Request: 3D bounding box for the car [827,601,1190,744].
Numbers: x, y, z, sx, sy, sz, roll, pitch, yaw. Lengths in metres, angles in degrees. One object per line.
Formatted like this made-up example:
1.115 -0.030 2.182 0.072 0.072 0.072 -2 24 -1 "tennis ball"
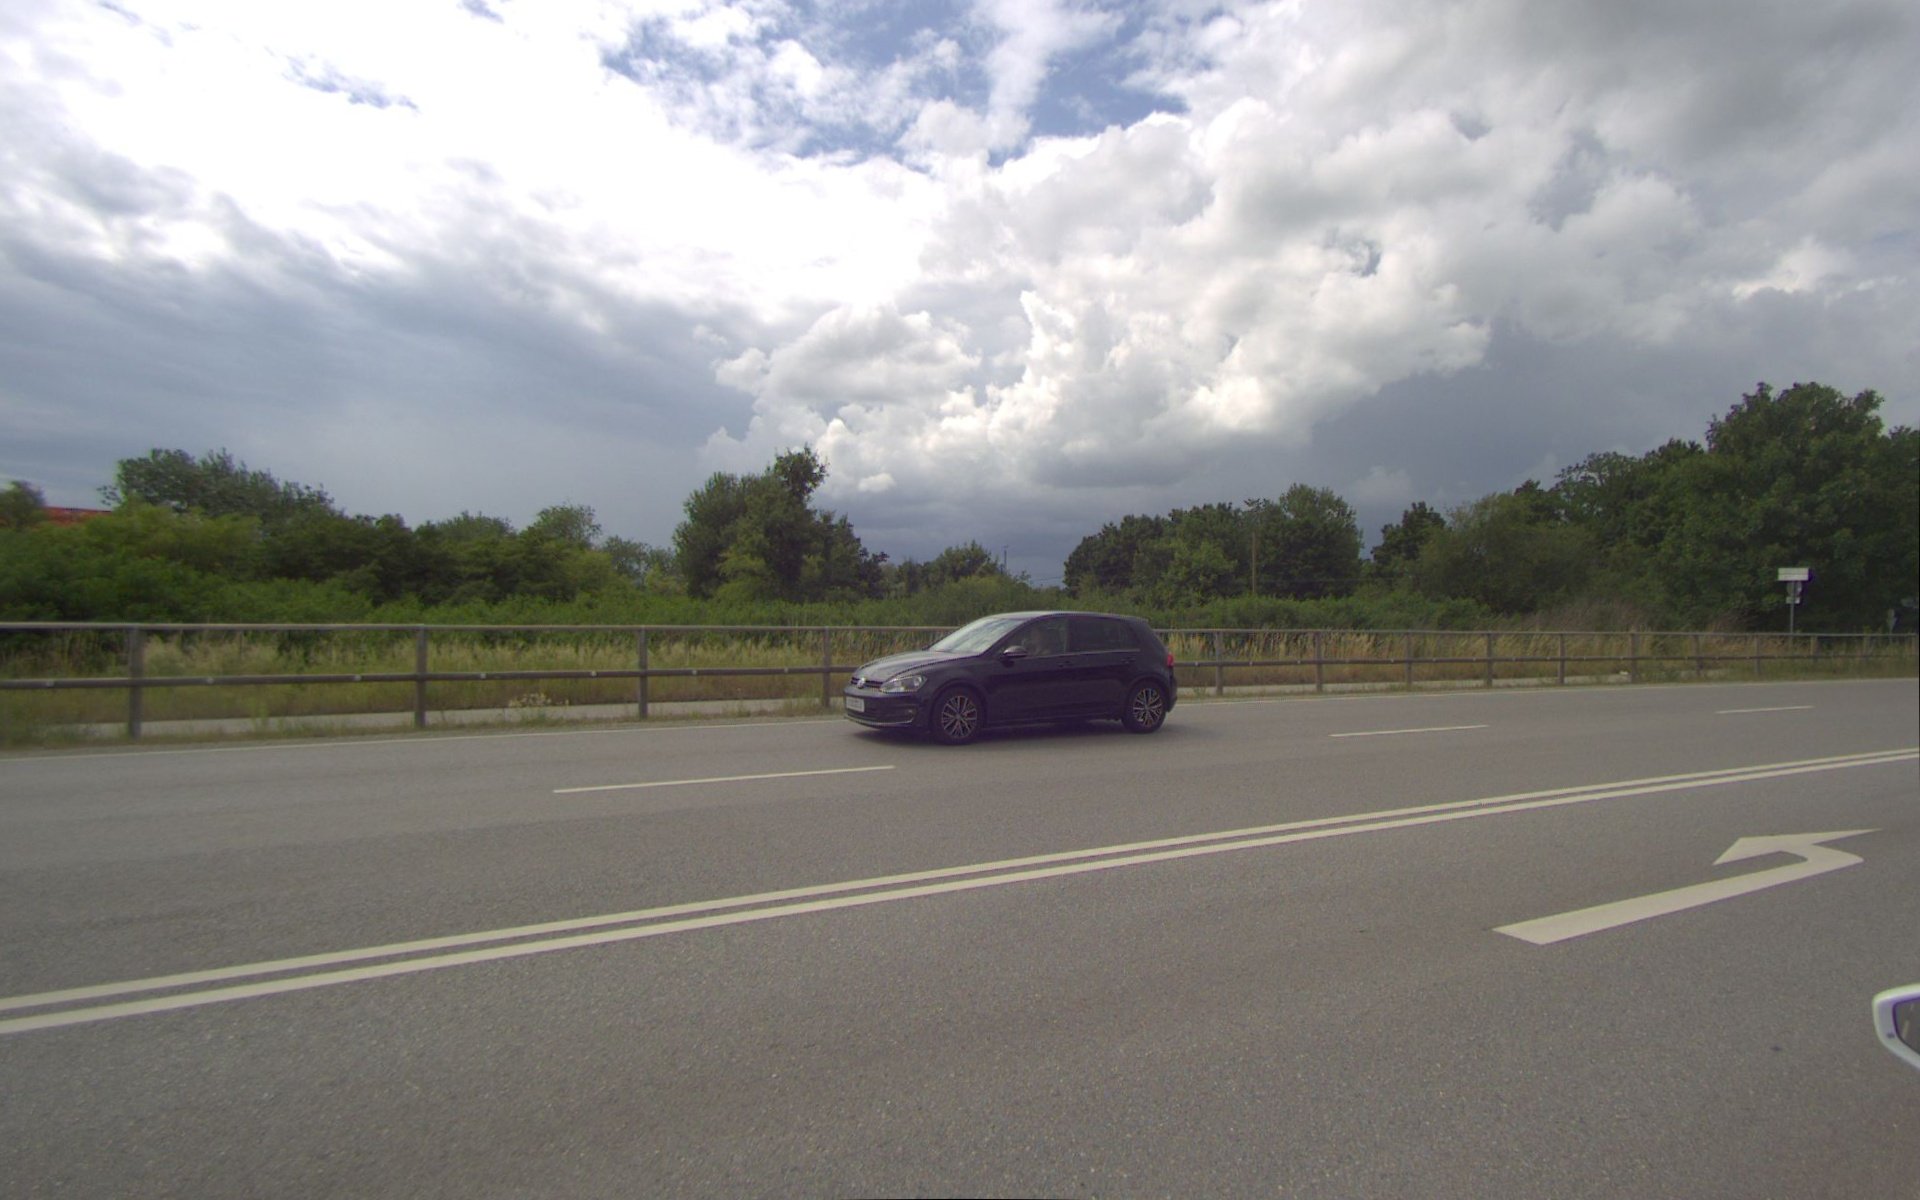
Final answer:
0.605 0.791 12.105 3.951 1.460 1.938 1 -1 -29 "car"
